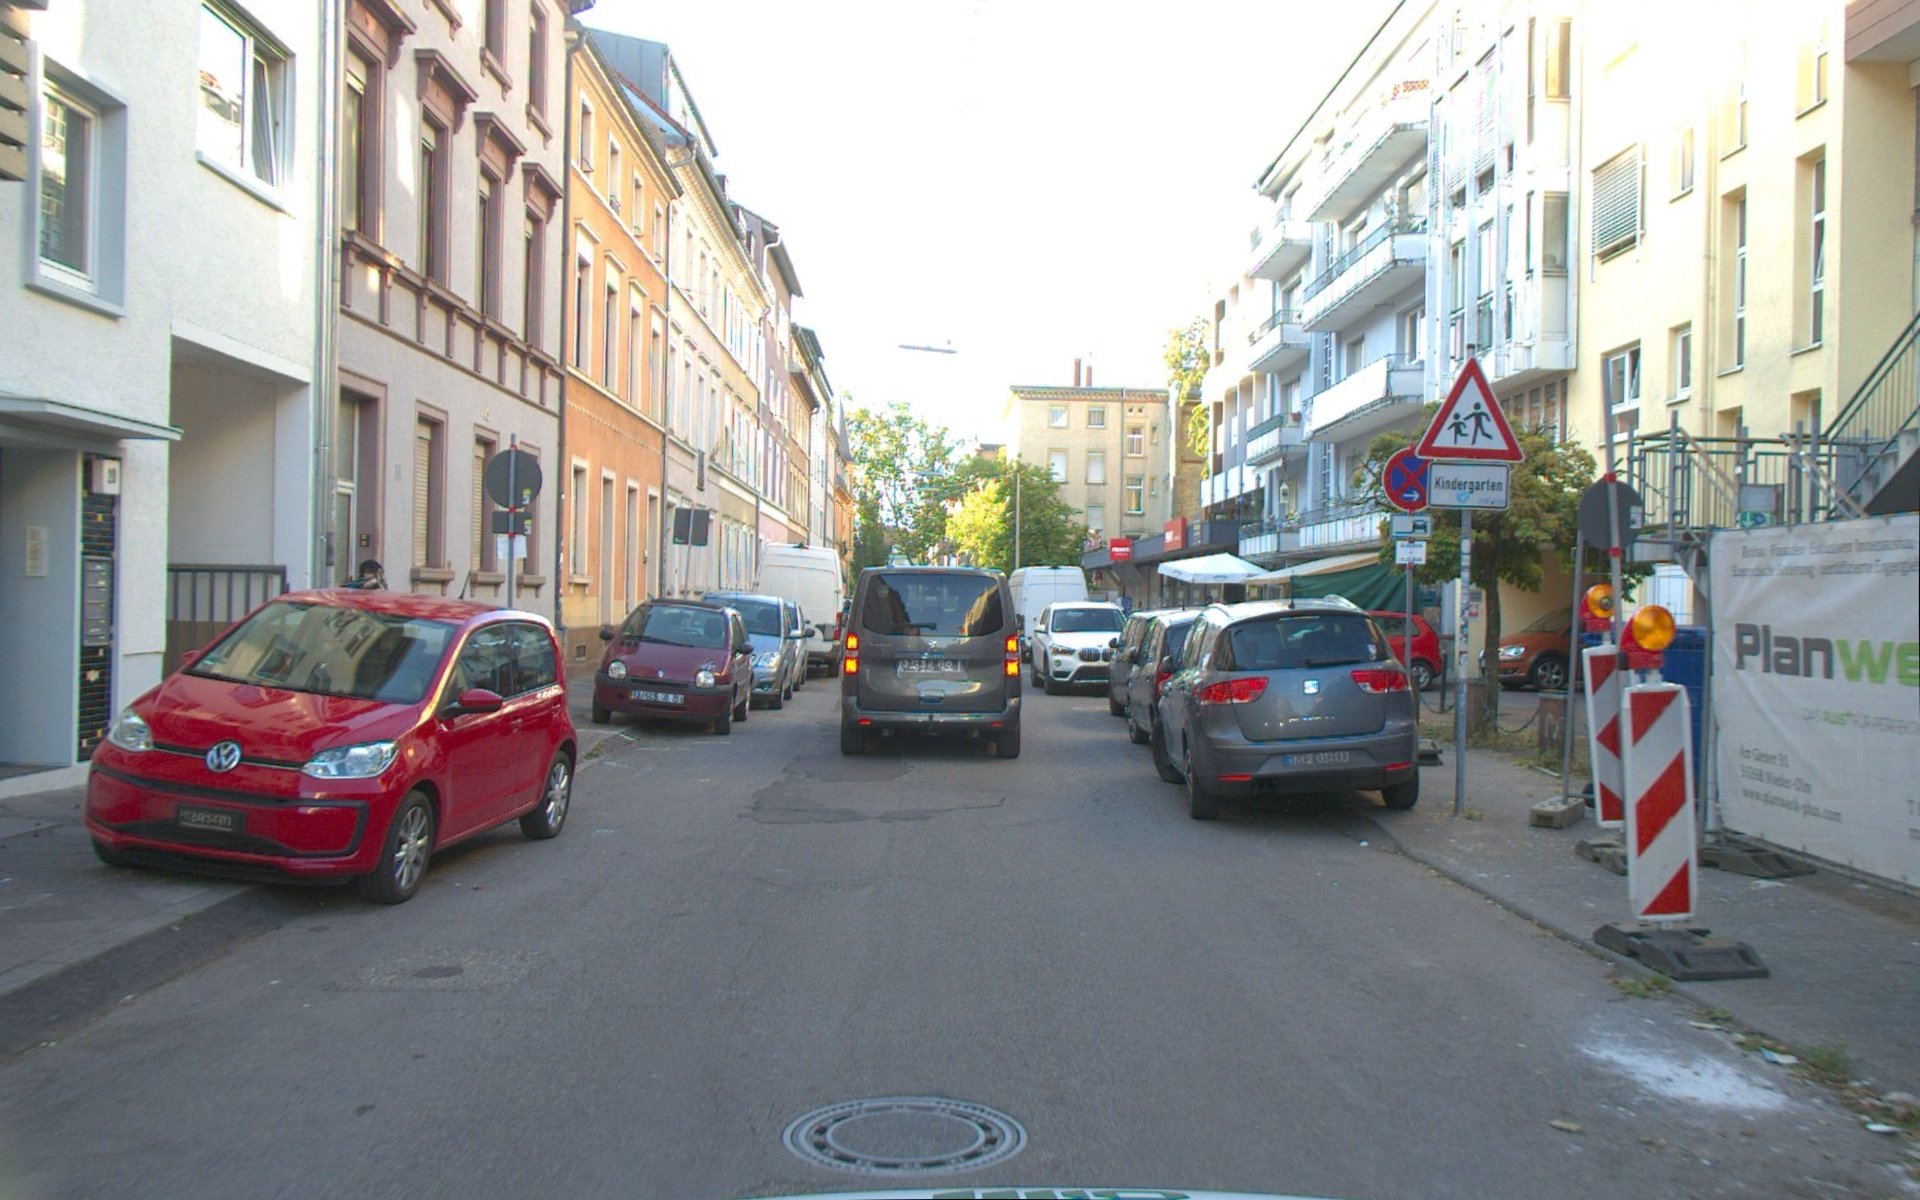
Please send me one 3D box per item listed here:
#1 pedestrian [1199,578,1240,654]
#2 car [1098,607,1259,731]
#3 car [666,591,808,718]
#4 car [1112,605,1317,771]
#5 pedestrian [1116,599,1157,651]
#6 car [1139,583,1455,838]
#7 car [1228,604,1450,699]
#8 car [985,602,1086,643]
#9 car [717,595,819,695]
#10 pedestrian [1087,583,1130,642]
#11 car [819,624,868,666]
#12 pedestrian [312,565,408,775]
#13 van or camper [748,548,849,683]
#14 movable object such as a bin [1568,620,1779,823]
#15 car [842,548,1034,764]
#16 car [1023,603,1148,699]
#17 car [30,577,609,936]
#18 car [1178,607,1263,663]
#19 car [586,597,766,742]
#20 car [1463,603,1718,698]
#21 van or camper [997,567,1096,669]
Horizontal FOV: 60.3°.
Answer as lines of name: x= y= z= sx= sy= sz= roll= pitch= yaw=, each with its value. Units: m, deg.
pedestrian: x=7.548 y=0.456 z=48.146 sx=0.859 sy=2.182 sz=0.951 roll=1 pitch=-1 yaw=-18
car: x=2.918 y=0.875 z=22.842 sx=1.587 sy=1.512 sz=4.123 roll=-1 pitch=0 yaw=-1
car: x=-3.312 y=0.763 z=25.204 sx=1.677 sy=1.673 sz=3.977 roll=4 pitch=0 yaw=-3
car: x=2.689 y=0.877 z=18.187 sx=1.589 sy=1.585 sz=3.693 roll=2 pitch=0 yaw=-1
pedestrian: x=6.019 y=0.840 z=56.439 sx=0.925 sy=1.751 sz=1.050 roll=0 pitch=-1 yaw=-35
car: x=2.588 y=0.773 z=13.759 sx=1.713 sy=1.713 sz=4.526 roll=2 pitch=0 yaw=1
car: x=7.272 y=0.977 z=31.954 sx=3.817 sy=1.635 sz=1.693 roll=2 pitch=0 yaw=-3
car: x=3.605 y=1.051 z=79.375 sx=4.484 sy=1.823 sz=1.996 roll=2 pitch=0 yaw=-9
car: x=-3.540 y=0.800 z=30.935 sx=1.558 sy=1.715 sz=3.651 roll=2 pitch=0 yaw=-2
pedestrian: x=4.079 y=0.349 z=45.563 sx=0.859 sy=1.583 sz=0.869 roll=-1 pitch=0 yaw=-23
car: x=-4.428 y=1.691 z=62.818 sx=1.753 sy=1.422 sz=4.463 roll=2 pitch=0 yaw=-4
pedestrian: x=-4.943 y=0.564 z=13.651 sx=0.485 sy=1.667 sz=0.665 roll=2 pitch=-1 yaw=-1
van or camper: x=-3.463 y=0.318 z=36.610 sx=1.910 sy=2.696 sz=7.136 roll=0 pitch=0 yaw=-3
movable object such as a bin: x=5.262 y=0.882 z=12.214 sx=1.235 sy=1.400 sz=0.795 roll=3 pitch=-1 yaw=-27
car: x=-0.273 y=0.537 z=17.891 sx=1.820 sy=2.049 sz=3.998 roll=-1 pitch=0 yaw=-2
car: x=2.270 y=0.895 z=30.994 sx=1.688 sy=1.640 sz=4.585 roll=1 pitch=0 yaw=-4
car: x=-3.414 y=0.746 z=9.608 sx=1.634 sy=1.511 sz=3.607 roll=6 pitch=0 yaw=4
car: x=7.003 y=0.917 z=44.260 sx=1.567 sy=1.441 sz=3.229 roll=0 pitch=0 yaw=21
car: x=-3.329 y=0.773 z=19.948 sx=1.624 sy=1.473 sz=3.284 roll=4 pitch=0 yaw=-2
car: x=11.809 y=0.931 z=31.153 sx=4.027 sy=1.688 sz=1.998 roll=1 pitch=0 yaw=-5
van or camper: x=2.359 y=0.483 z=47.122 sx=2.057 sy=2.648 sz=7.508 roll=0 pitch=0 yaw=-3
